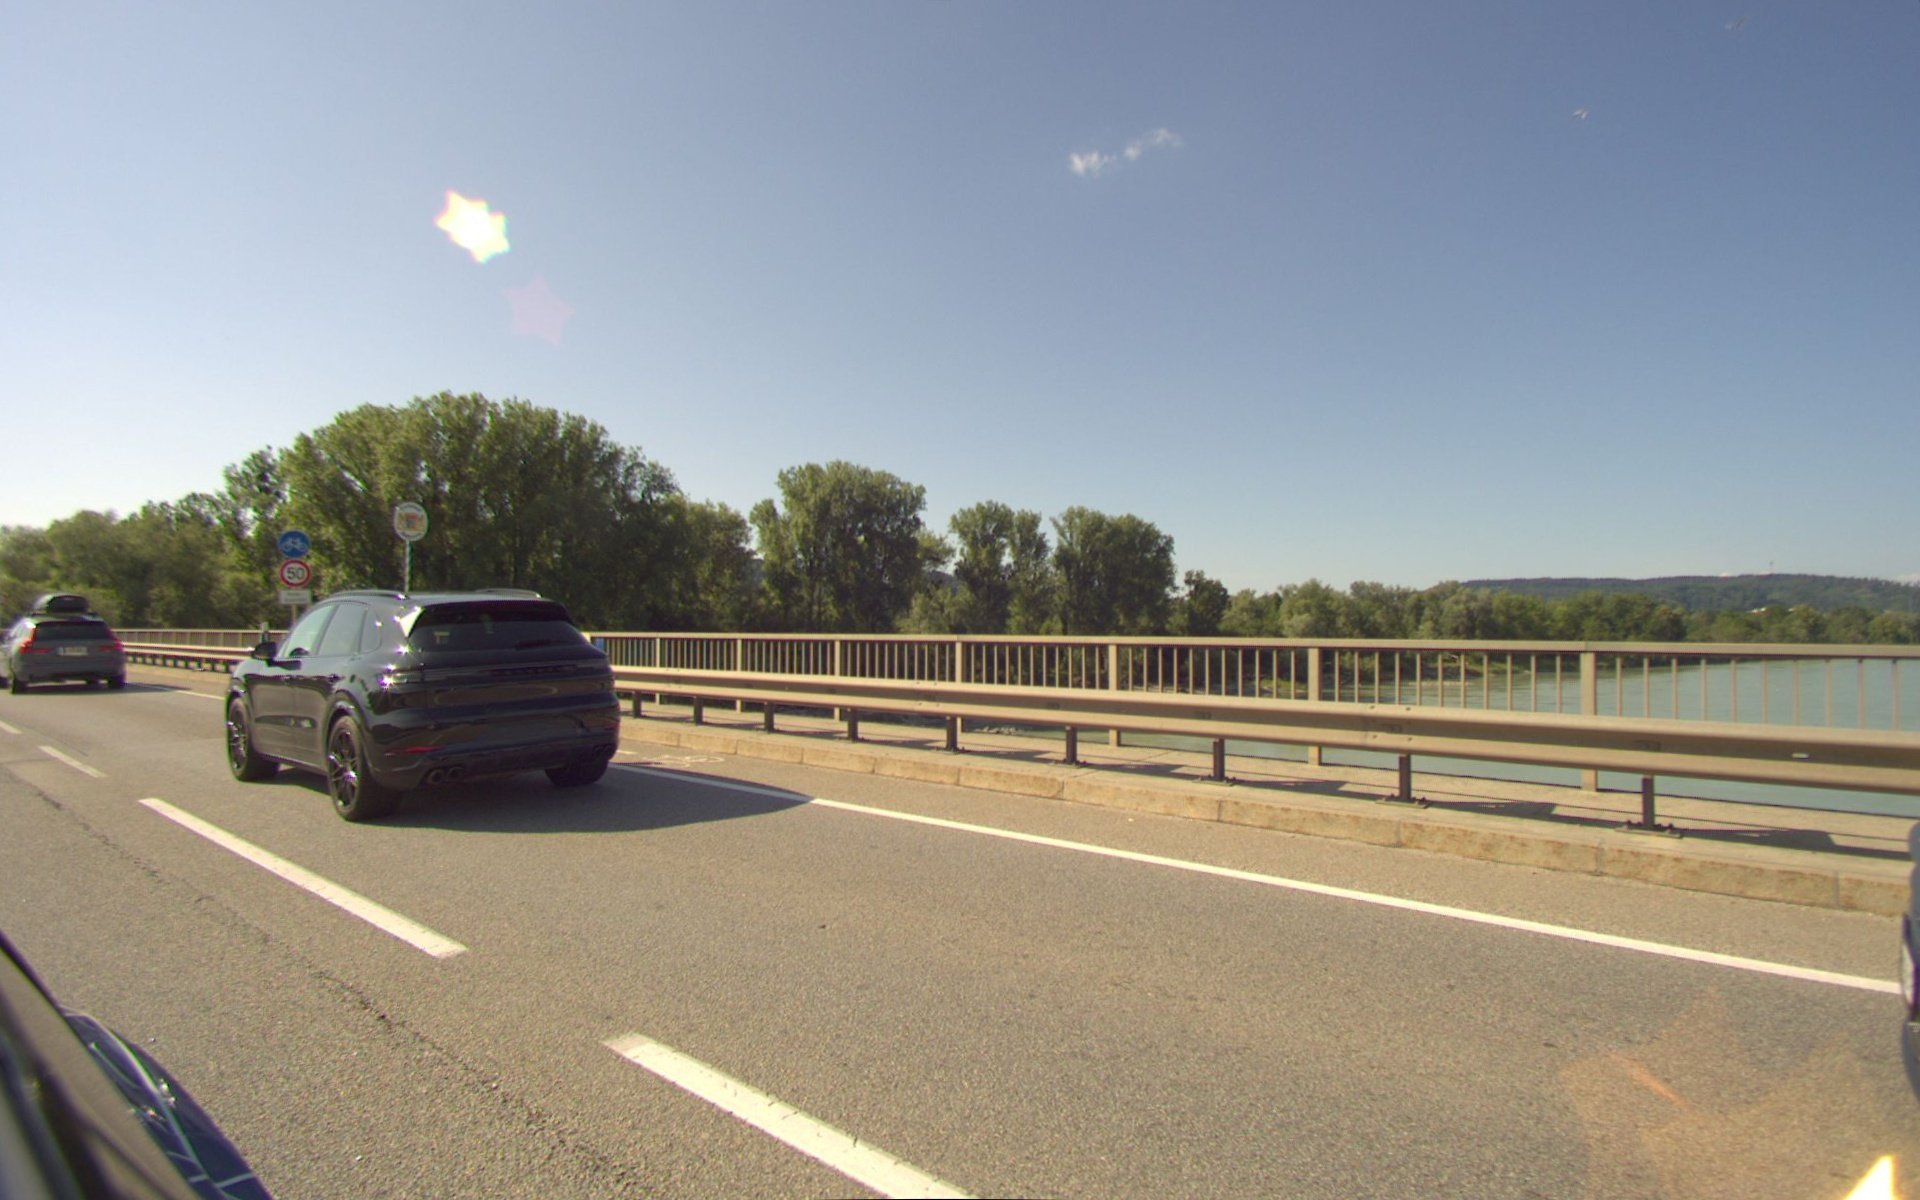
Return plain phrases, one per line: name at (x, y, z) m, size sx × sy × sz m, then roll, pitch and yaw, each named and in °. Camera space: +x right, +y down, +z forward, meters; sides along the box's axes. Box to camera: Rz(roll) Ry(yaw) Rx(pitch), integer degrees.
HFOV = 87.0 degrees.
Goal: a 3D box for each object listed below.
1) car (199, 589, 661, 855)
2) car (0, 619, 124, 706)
car at (-4.815, 0.819, 8.833) m, size 4.720 × 1.665 × 2.032 m, roll -2°, pitch 1°, yaw 42°
car at (-20.306, 1.319, 22.615) m, size 4.564 × 1.735 × 1.835 m, roll -2°, pitch -2°, yaw 42°
